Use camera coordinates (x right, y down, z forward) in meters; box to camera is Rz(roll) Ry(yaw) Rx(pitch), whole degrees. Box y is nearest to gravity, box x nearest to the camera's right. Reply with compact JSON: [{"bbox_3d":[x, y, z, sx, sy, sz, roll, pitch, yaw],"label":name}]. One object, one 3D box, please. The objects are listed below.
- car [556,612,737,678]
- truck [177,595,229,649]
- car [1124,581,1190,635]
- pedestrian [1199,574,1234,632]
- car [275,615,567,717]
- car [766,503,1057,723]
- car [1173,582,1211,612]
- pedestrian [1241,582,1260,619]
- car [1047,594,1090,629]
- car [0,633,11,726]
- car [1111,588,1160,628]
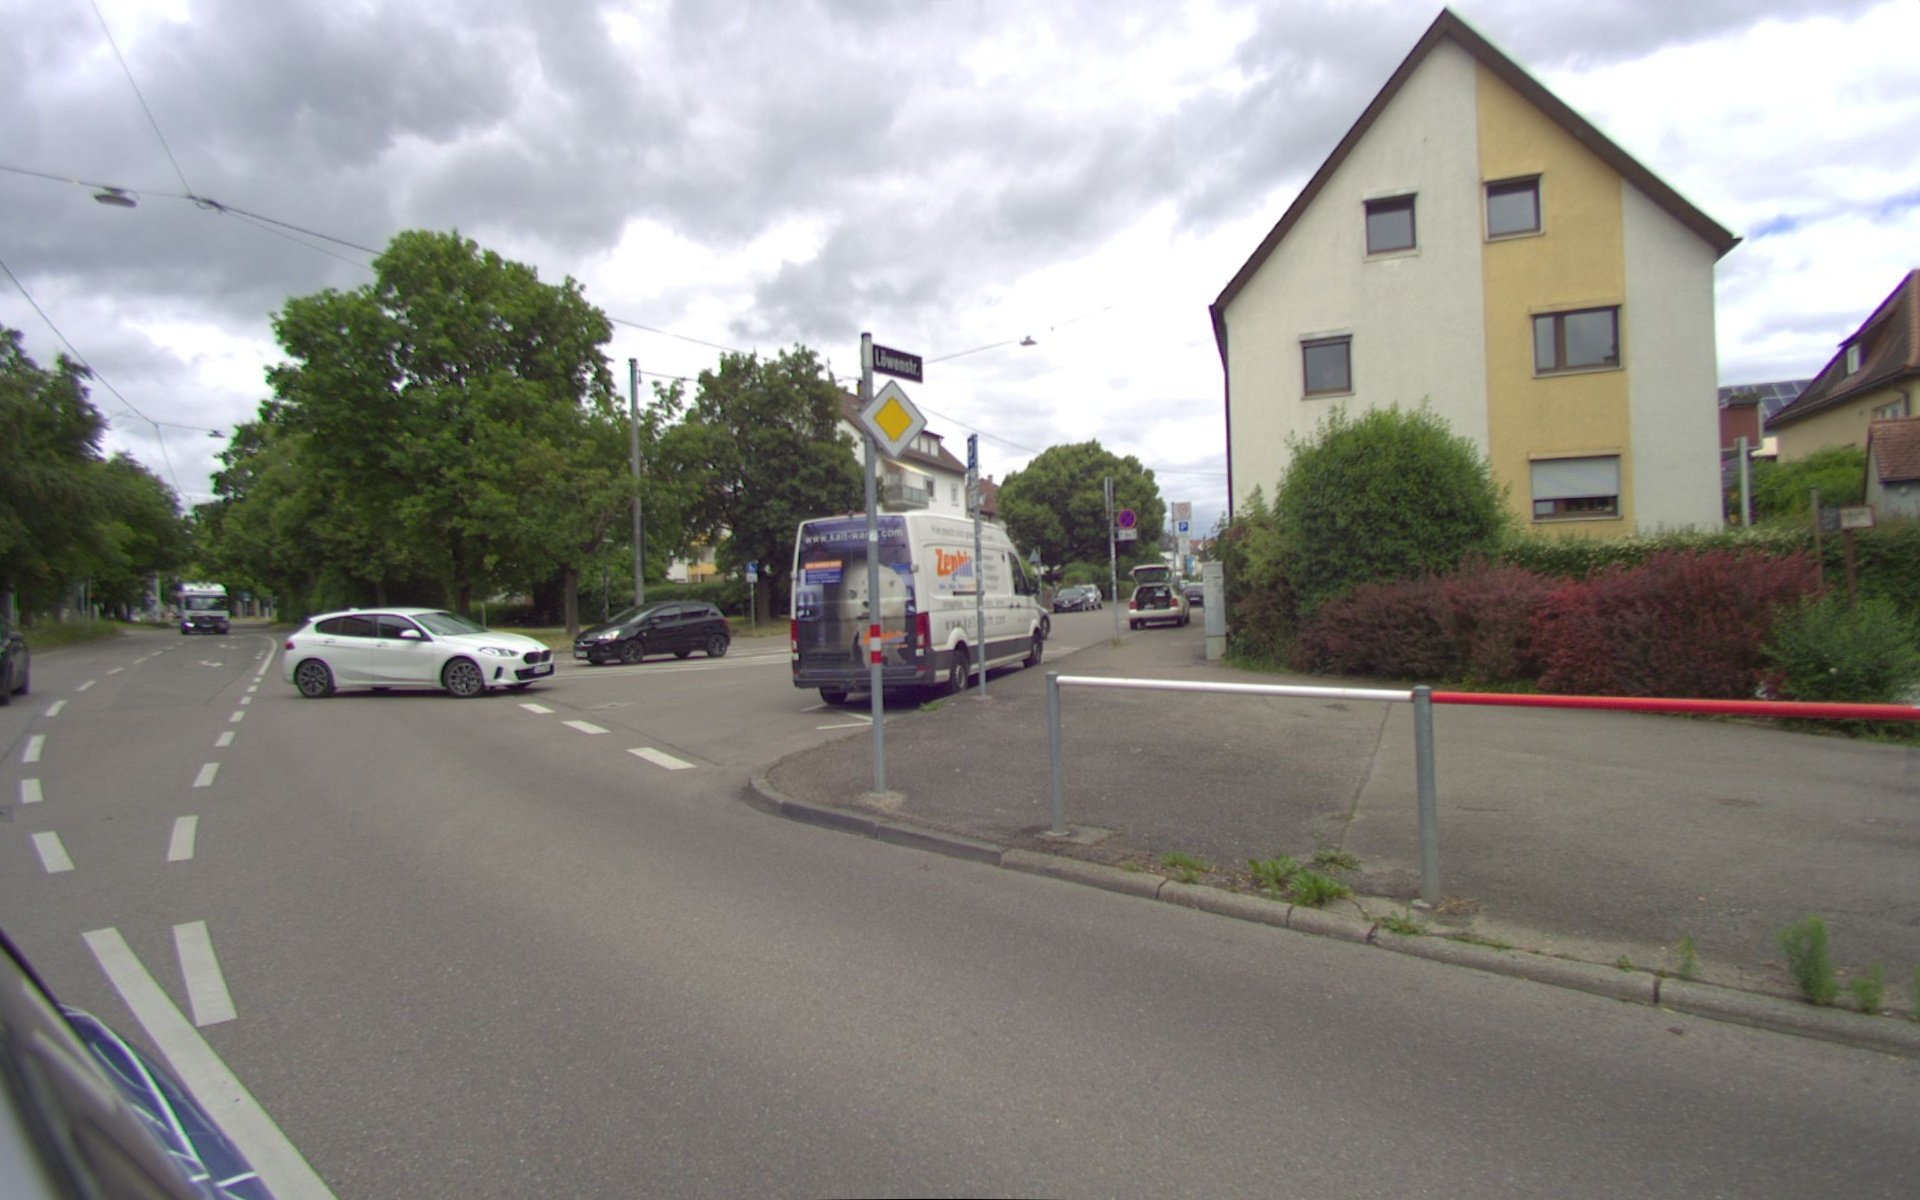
[{"bbox_3d":[-7.627,1.075,24.918,1.643,1.346,3.946,-4,-1,41],"label":"car"},{"bbox_3d":[-47.826,1.402,63.853,2.398,3.219,6.478,-1,-1,-38],"label":"truck"},{"bbox_3d":[6.417,0.210,32.688,1.706,1.450,4.296,-5,0,15],"label":"car"},{"bbox_3d":[7.234,0.084,28.555,0.741,1.545,0.715,-5,0,8],"label":"pedestrian"},{"bbox_3d":[-9.086,1.095,17.195,4.161,1.529,1.796,-2,0,11],"label":"car"},{"bbox_3d":[-0.332,0.145,15.694,2.067,2.541,6.941,-5,-1,17],"label":"car"},{"bbox_3d":[14.212,-0.193,61.811,1.789,1.546,3.867,-5,0,19],"label":"car"},{"bbox_3d":[13.544,0.022,47.159,0.677,1.645,0.777,-5,0,21],"label":"pedestrian"},{"bbox_3d":[6.365,0.627,58.916,1.765,1.762,3.981,-5,0,15],"label":"car"},{"bbox_3d":[-16.762,1.309,16.453,1.773,1.495,4.025,1,-2,-41],"label":"car"},{"bbox_3d":[7.369,0.305,42.204,1.667,1.545,4.214,-1,1,15],"label":"car"}]
